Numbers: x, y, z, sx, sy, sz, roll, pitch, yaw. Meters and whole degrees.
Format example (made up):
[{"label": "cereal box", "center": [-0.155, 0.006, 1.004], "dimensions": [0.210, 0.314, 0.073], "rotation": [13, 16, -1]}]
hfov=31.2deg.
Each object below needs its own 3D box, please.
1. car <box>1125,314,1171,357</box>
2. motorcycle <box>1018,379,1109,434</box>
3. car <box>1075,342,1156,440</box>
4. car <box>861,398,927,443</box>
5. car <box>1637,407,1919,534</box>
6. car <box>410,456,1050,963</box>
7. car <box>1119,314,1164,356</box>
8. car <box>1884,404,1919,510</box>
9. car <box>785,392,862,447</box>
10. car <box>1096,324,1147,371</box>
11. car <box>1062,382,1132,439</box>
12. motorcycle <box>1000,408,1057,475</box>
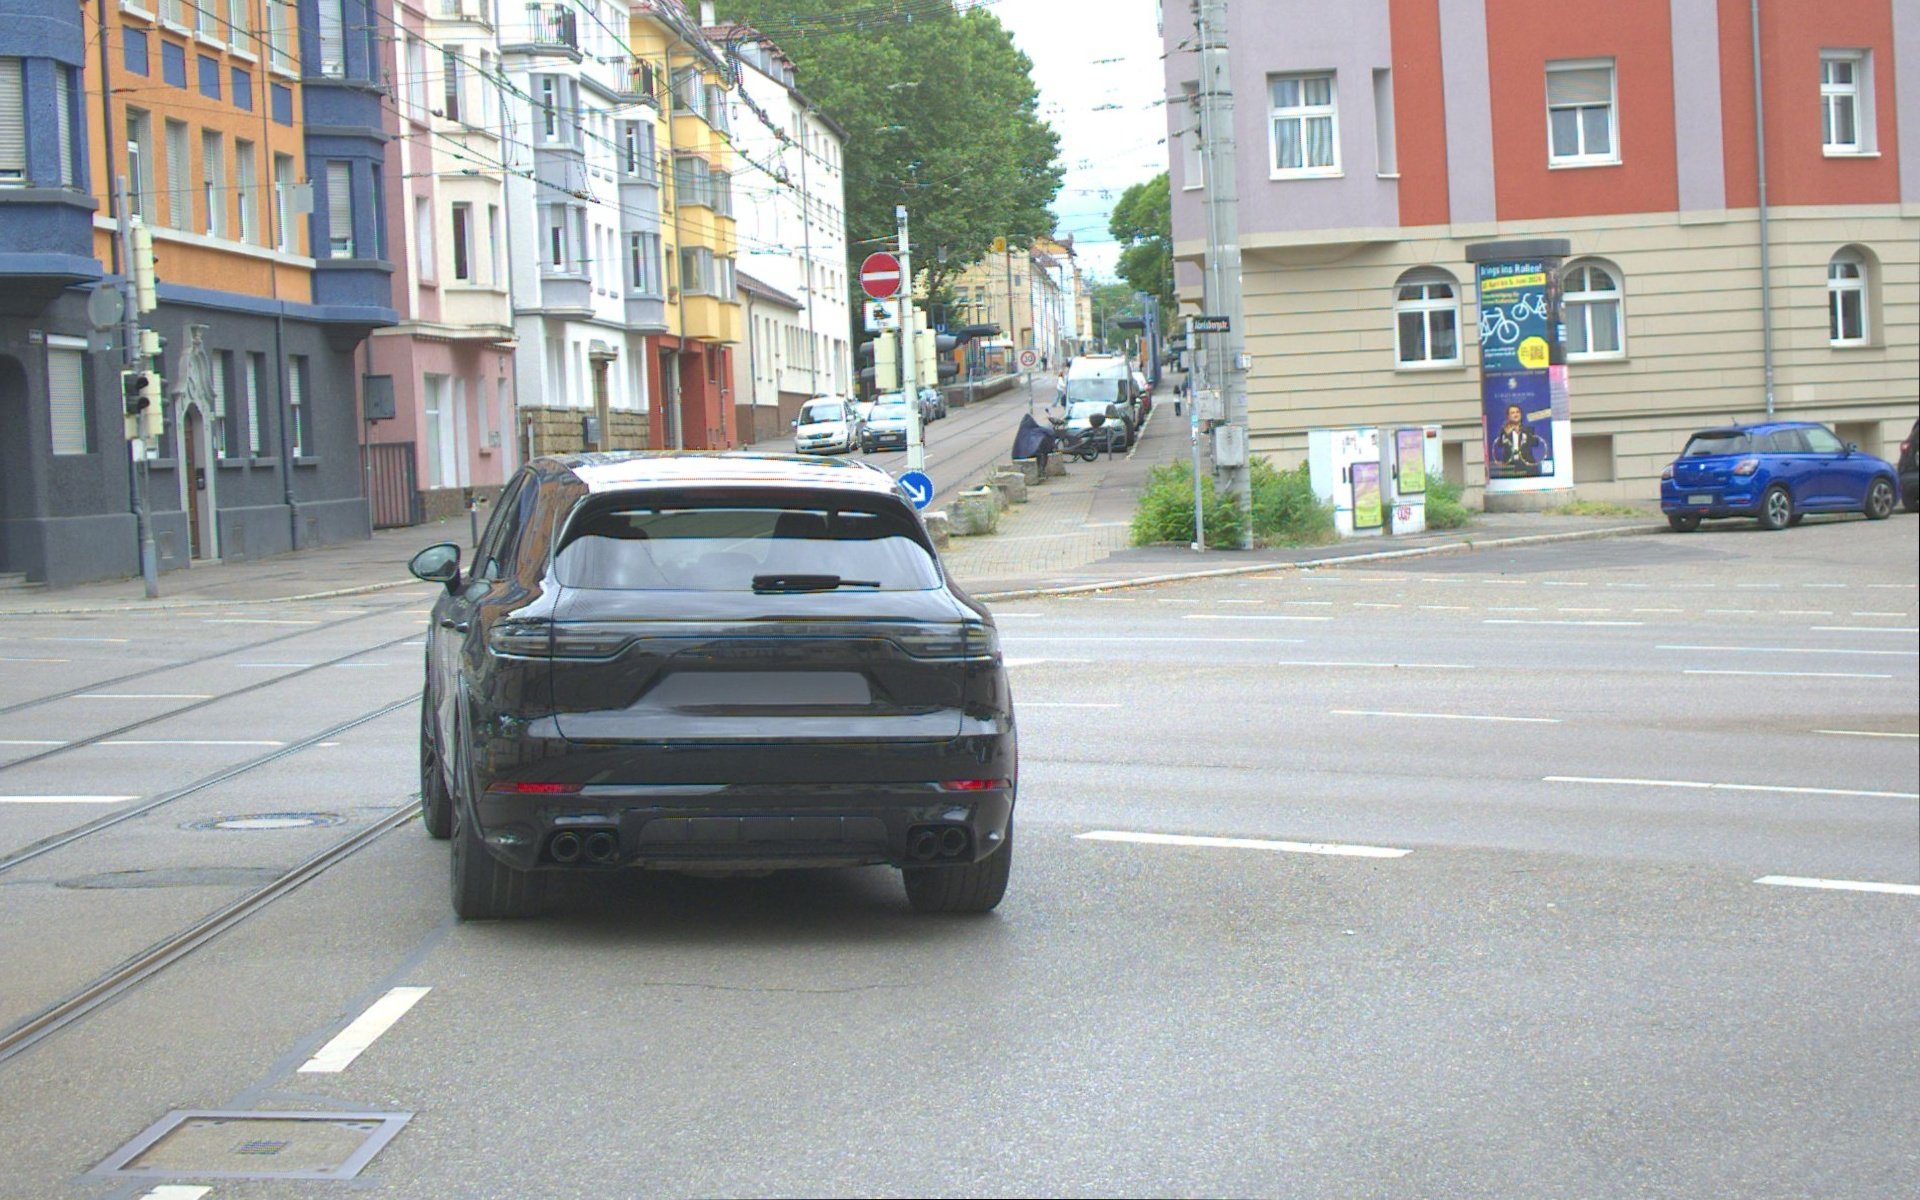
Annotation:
[{"label": "car", "center": [9.811, -13.730, 178.937], "dimensions": [2.267, 2.175, 4.769], "rotation": [0, 4, 5]}, {"label": "motorcycle", "center": [2.574, -4.804, 85.338], "dimensions": [2.176, 1.322, 0.700], "rotation": [-1, 4, -5]}, {"label": "car", "center": [4.734, -6.335, 104.192], "dimensions": [2.267, 2.880, 4.769], "rotation": [0, 4, 5]}, {"label": "car", "center": [-2.031, -5.606, 107.096], "dimensions": [1.686, 1.322, 3.662], "rotation": [0, 4, 5]}, {"label": "car", "center": [11.676, -1.875, 48.752], "dimensions": [4.130, 1.529, 1.918], "rotation": [-6, 7, -41]}, {"label": "car", "center": [-1.087, 0.266, 13.505], "dimensions": [2.023, 1.636, 4.358], "rotation": [0, 3, -10]}, {"label": "car", "center": [9.781, -14.251, 185.192], "dimensions": [2.267, 2.175, 4.769], "rotation": [0, 4, 5]}, {"label": "car", "center": [16.086, -2.257, 52.250], "dimensions": [4.130, 1.529, 1.918], "rotation": [-6, 7, -40]}, {"label": "car", "center": [-4.353, -5.809, 110.390], "dimensions": [1.994, 1.686, 4.000], "rotation": [0, 4, 5]}, {"label": "car", "center": [7.763, -12.114, 165.134], "dimensions": [2.267, 2.175, 4.769], "rotation": [0, 4, 5]}, {"label": "car", "center": [3.937, -5.433, 98.472], "dimensions": [1.840, 1.563, 3.819], "rotation": [0, 4, 5]}, {"label": "motorcycle", "center": [1.483, -3.467, 74.881], "dimensions": [0.859, 1.321, 2.185], "rotation": [-8, 4, -4]}]
